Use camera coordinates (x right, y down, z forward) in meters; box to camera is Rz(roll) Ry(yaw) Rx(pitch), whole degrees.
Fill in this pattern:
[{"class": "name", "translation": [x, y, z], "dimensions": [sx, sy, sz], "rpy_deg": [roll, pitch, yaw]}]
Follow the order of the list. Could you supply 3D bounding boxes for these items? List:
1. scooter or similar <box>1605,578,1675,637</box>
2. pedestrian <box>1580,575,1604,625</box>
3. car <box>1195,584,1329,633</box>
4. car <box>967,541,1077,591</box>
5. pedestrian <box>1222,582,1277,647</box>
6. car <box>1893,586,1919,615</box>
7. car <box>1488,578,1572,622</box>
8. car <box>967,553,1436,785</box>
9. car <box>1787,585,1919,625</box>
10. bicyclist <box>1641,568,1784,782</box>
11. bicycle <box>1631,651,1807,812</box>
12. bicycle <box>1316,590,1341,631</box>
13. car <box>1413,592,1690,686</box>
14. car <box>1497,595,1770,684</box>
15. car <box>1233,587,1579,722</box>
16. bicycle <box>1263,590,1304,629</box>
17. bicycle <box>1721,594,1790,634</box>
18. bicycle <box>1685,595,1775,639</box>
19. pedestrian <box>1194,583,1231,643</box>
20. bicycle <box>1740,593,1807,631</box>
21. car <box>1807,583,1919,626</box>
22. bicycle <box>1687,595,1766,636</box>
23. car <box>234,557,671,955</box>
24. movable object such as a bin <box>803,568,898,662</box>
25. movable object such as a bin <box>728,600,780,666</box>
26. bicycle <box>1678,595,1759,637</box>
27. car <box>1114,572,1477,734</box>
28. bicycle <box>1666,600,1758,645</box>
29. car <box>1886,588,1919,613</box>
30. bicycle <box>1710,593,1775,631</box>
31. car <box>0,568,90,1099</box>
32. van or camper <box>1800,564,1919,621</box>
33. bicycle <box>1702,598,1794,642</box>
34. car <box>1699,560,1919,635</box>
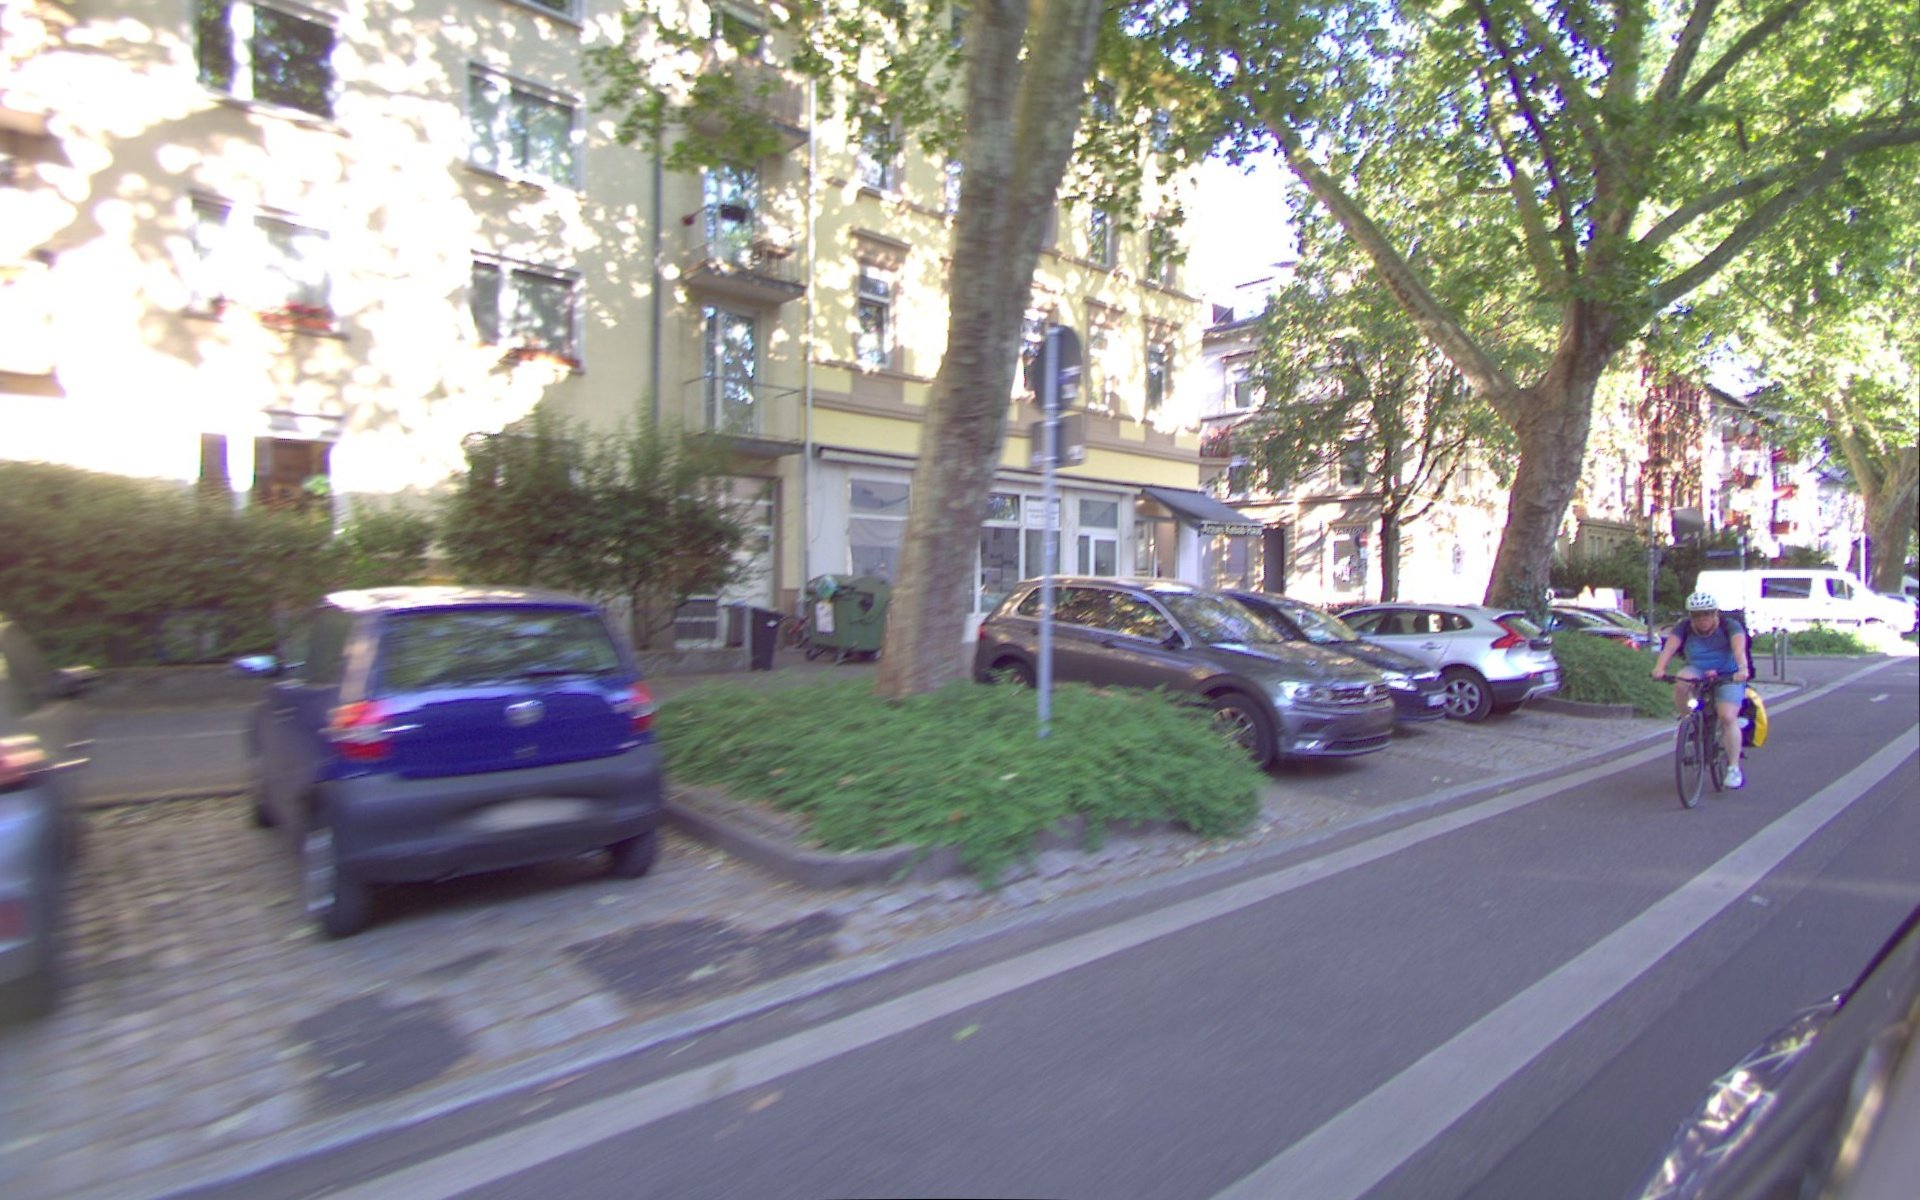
[{"class": "scooter or similar", "translation": [15.226, 0.149, 22.691], "dimensions": [0.334, 1.271, 1.313], "rpy_deg": [0, 1, -27]}, {"class": "pedestrian", "translation": [21.618, 0.000, 34.640], "dimensions": [0.587, 1.672, 0.703], "rpy_deg": [0, 1, 23]}, {"class": "car", "translation": [9.363, 0.246, 31.553], "dimensions": [1.663, 1.430, 3.679], "rpy_deg": [2, -1, -44]}, {"class": "car", "translation": [2.232, -1.199, 37.297], "dimensions": [1.625, 1.679, 4.140], "rpy_deg": [2, -1, -39]}, {"class": "pedestrian", "translation": [6.327, 0.308, 22.100], "dimensions": [1.034, 1.392, 0.487], "rpy_deg": [0, 0, -10]}, {"class": "car", "translation": [60.431, 0.026, 62.448], "dimensions": [1.773, 1.767, 4.001], "rpy_deg": [0, 1, -41]}, {"class": "car", "translation": [20.721, -0.016, 36.745], "dimensions": [3.512, 1.473, 1.734], "rpy_deg": [-1, 3, -45]}, {"class": "car", "translation": [2.204, 0.466, 10.190], "dimensions": [1.818, 1.739, 4.269], "rpy_deg": [0, 3, -43]}, {"class": "car", "translation": [35.721, 0.165, 40.385], "dimensions": [1.765, 1.497, 3.962], "rpy_deg": [0, 1, -41]}, {"class": "bicyclist", "translation": [5.939, 0.568, 7.985], "dimensions": [0.919, 1.573, 0.615], "rpy_deg": [0, -4, -41]}, {"class": "bicycle", "translation": [6.098, 0.964, 8.066], "dimensions": [2.467, 1.017, 0.596], "rpy_deg": [0, -2, -41]}, {"class": "bicycle", "translation": [12.912, 0.353, 35.453], "dimensions": [0.503, 1.301, 1.888], "rpy_deg": [0, 2, 30]}, {"class": "car", "translation": [10.774, 0.617, 18.716], "dimensions": [1.649, 1.510, 4.110], "rpy_deg": [0, 1, -35]}, {"class": "car", "translation": [13.103, 0.676, 19.942], "dimensions": [1.795, 1.510, 4.112], "rpy_deg": [0, 1, -32]}, {"class": "car", "translation": [5.981, 0.618, 13.896], "dimensions": [4.029, 1.498, 1.655], "rpy_deg": [2, 2, 44]}, {"class": "bicycle", "translation": [12.200, 0.342, 38.140], "dimensions": [1.974, 1.333, 0.522], "rpy_deg": [-4, 1, -42]}, {"class": "bicycle", "translation": [24.781, 0.410, 31.563], "dimensions": [0.405, 1.193, 2.050], "rpy_deg": [-1, 1, -4]}, {"class": "bicycle", "translation": [22.248, 0.466, 29.289], "dimensions": [0.405, 1.193, 2.050], "rpy_deg": [-1, 1, -32]}, {"class": "pedestrian", "translation": [5.691, 0.290, 22.811], "dimensions": [0.673, 1.345, 0.487], "rpy_deg": [0, 0, -4]}, {"class": "bicycle", "translation": [26.538, 0.378, 33.060], "dimensions": [0.405, 1.193, 2.050], "rpy_deg": [-1, 1, -4]}, {"class": "car", "translation": [37.781, 0.140, 41.914], "dimensions": [1.766, 1.676, 3.959], "rpy_deg": [-1, 2, -43]}, {"class": "bicycle", "translation": [23.622, 0.446, 31.234], "dimensions": [0.404, 1.193, 2.053], "rpy_deg": [-1, 1, -20]}, {"class": "car", "translation": [-3.192, 0.587, 5.989], "dimensions": [1.514, 1.619, 3.602], "rpy_deg": [-1, 2, -40]}, {"class": "movable object such as a bin", "translation": [-1.829, 0.221, 16.834], "dimensions": [1.098, 1.455, 1.169], "rpy_deg": [0, 2, -41]}, {"class": "movable object such as a bin", "translation": [-3.135, 0.487, 15.401], "dimensions": [0.457, 0.955, 0.749], "rpy_deg": [0, 2, -40]}, {"class": "bicycle", "translation": [22.666, 0.447, 30.276], "dimensions": [0.404, 1.193, 2.053], "rpy_deg": [-1, 1, -20]}, {"class": "car", "translation": [4.034, 0.509, 12.678], "dimensions": [1.653, 1.664, 4.033], "rpy_deg": [0, 2, -42]}, {"class": "bicycle", "translation": [20.958, 0.602, 28.258], "dimensions": [0.405, 1.193, 2.050], "rpy_deg": [-1, 1, -32]}, {"class": "car", "translation": [58.448, 0.031, 61.110], "dimensions": [1.632, 1.514, 3.613], "rpy_deg": [0, 1, -42]}, {"class": "bicycle", "translation": [25.447, 0.375, 32.956], "dimensions": [0.405, 1.193, 2.050], "rpy_deg": [-1, 1, -4]}, {"class": "car", "translation": [-4.546, 0.669, 3.990], "dimensions": [1.664, 1.536, 3.603], "rpy_deg": [0, 2, -40]}, {"class": "van or camper", "translation": [42.501, -0.351, 46.297], "dimensions": [2.071, 2.522, 6.043], "rpy_deg": [0, 1, -41]}, {"class": "bicycle", "translation": [22.175, 0.542, 28.522], "dimensions": [0.405, 1.193, 2.050], "rpy_deg": [-1, 1, -32]}, {"class": "car", "translation": [28.916, -0.124, 34.236], "dimensions": [1.970, 2.311, 6.005], "rpy_deg": [1, 1, -39]}]
